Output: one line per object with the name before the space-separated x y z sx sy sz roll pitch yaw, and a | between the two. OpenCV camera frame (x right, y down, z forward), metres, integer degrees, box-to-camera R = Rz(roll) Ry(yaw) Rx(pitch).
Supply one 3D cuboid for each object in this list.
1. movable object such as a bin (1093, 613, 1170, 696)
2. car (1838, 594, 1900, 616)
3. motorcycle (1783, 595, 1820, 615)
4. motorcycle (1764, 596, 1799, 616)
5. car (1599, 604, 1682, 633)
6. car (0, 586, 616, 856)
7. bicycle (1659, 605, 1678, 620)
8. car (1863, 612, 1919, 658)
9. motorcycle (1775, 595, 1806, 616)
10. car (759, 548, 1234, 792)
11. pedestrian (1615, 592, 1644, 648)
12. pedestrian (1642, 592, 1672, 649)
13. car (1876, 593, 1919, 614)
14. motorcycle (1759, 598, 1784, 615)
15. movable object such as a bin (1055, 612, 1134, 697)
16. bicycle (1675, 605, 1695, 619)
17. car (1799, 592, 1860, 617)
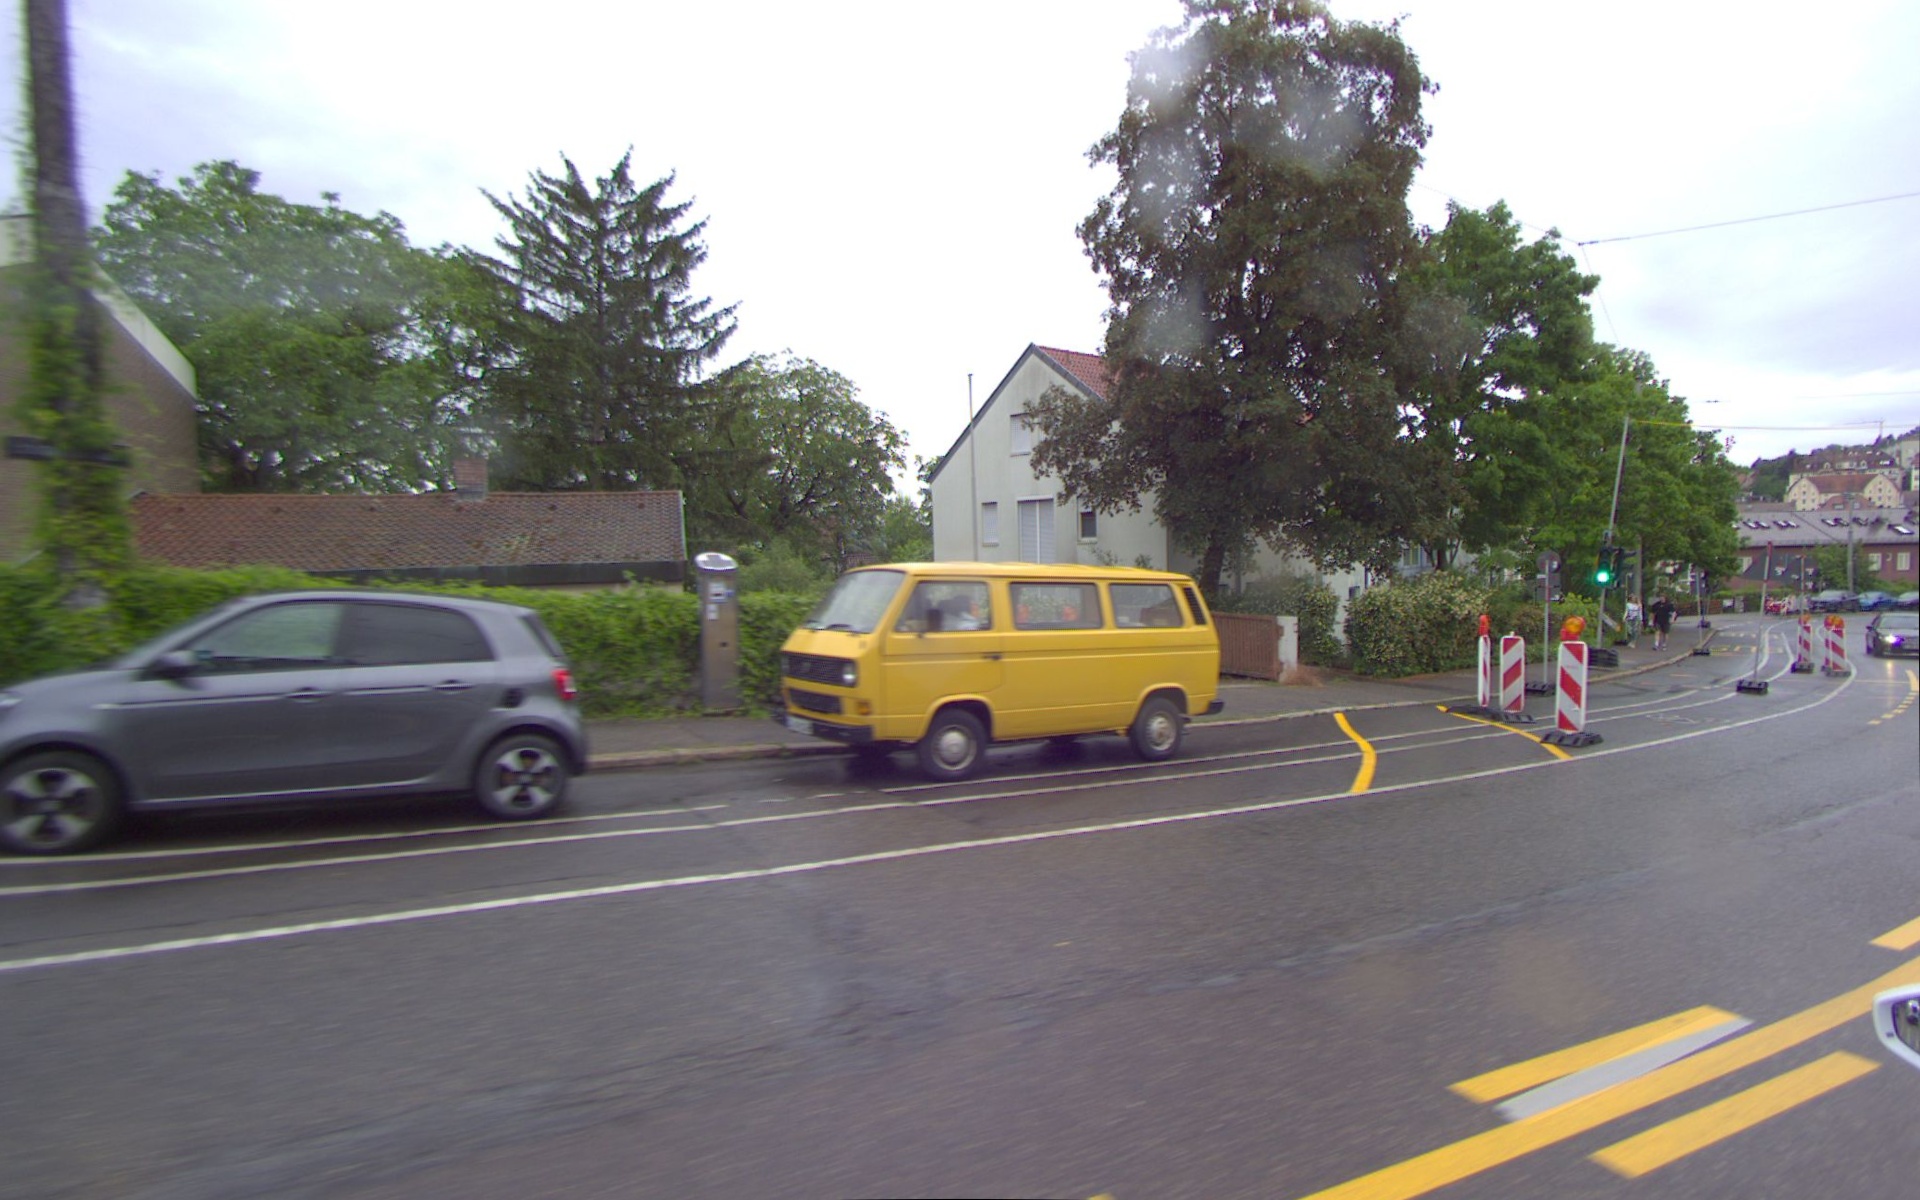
movable object such as a bin | 2.543 0.803 14.933 0.705 1.155 0.853 2 0 -34
car | 69.131 0.368 76.379 4.408 1.424 1.694 -1 5 -23
motorcycle | 60.633 0.380 72.419 1.872 1.289 0.574 4 5 30
motorcycle | 58.331 0.396 71.318 0.505 1.297 1.793 -1 4 -28
car | 42.694 1.133 63.062 3.863 1.688 1.843 2 0 3
car | -4.327 0.708 6.957 3.424 1.473 1.566 2 -1 -31
bicycle | 53.485 0.943 75.808 0.300 1.048 1.326 2 -2 -10
car | 31.956 1.145 34.118 1.679 1.480 4.662 0 0 40
motorcycle | 59.224 0.403 71.686 0.601 1.321 1.806 1 5 0
car | 0.478 0.615 10.022 4.527 1.953 1.793 1 -1 -33
pedestrian | 22.801 0.649 34.202 0.672 1.841 1.150 3 3 38
pedestrian | 23.395 0.668 33.719 0.698 1.841 1.142 3 3 38
car | 74.138 0.305 78.290 4.445 1.497 1.808 0 4 -14
motorcycle | 56.918 0.478 70.413 1.894 1.155 0.508 -1 1 -22
movable object such as a bin | 1.939 0.775 14.503 0.705 1.155 0.853 2 0 -34
bicycle | 53.693 0.885 74.412 0.300 1.048 1.301 3 -2 -11
car | 64.380 0.309 74.382 4.331 1.598 1.914 -1 5 -28
